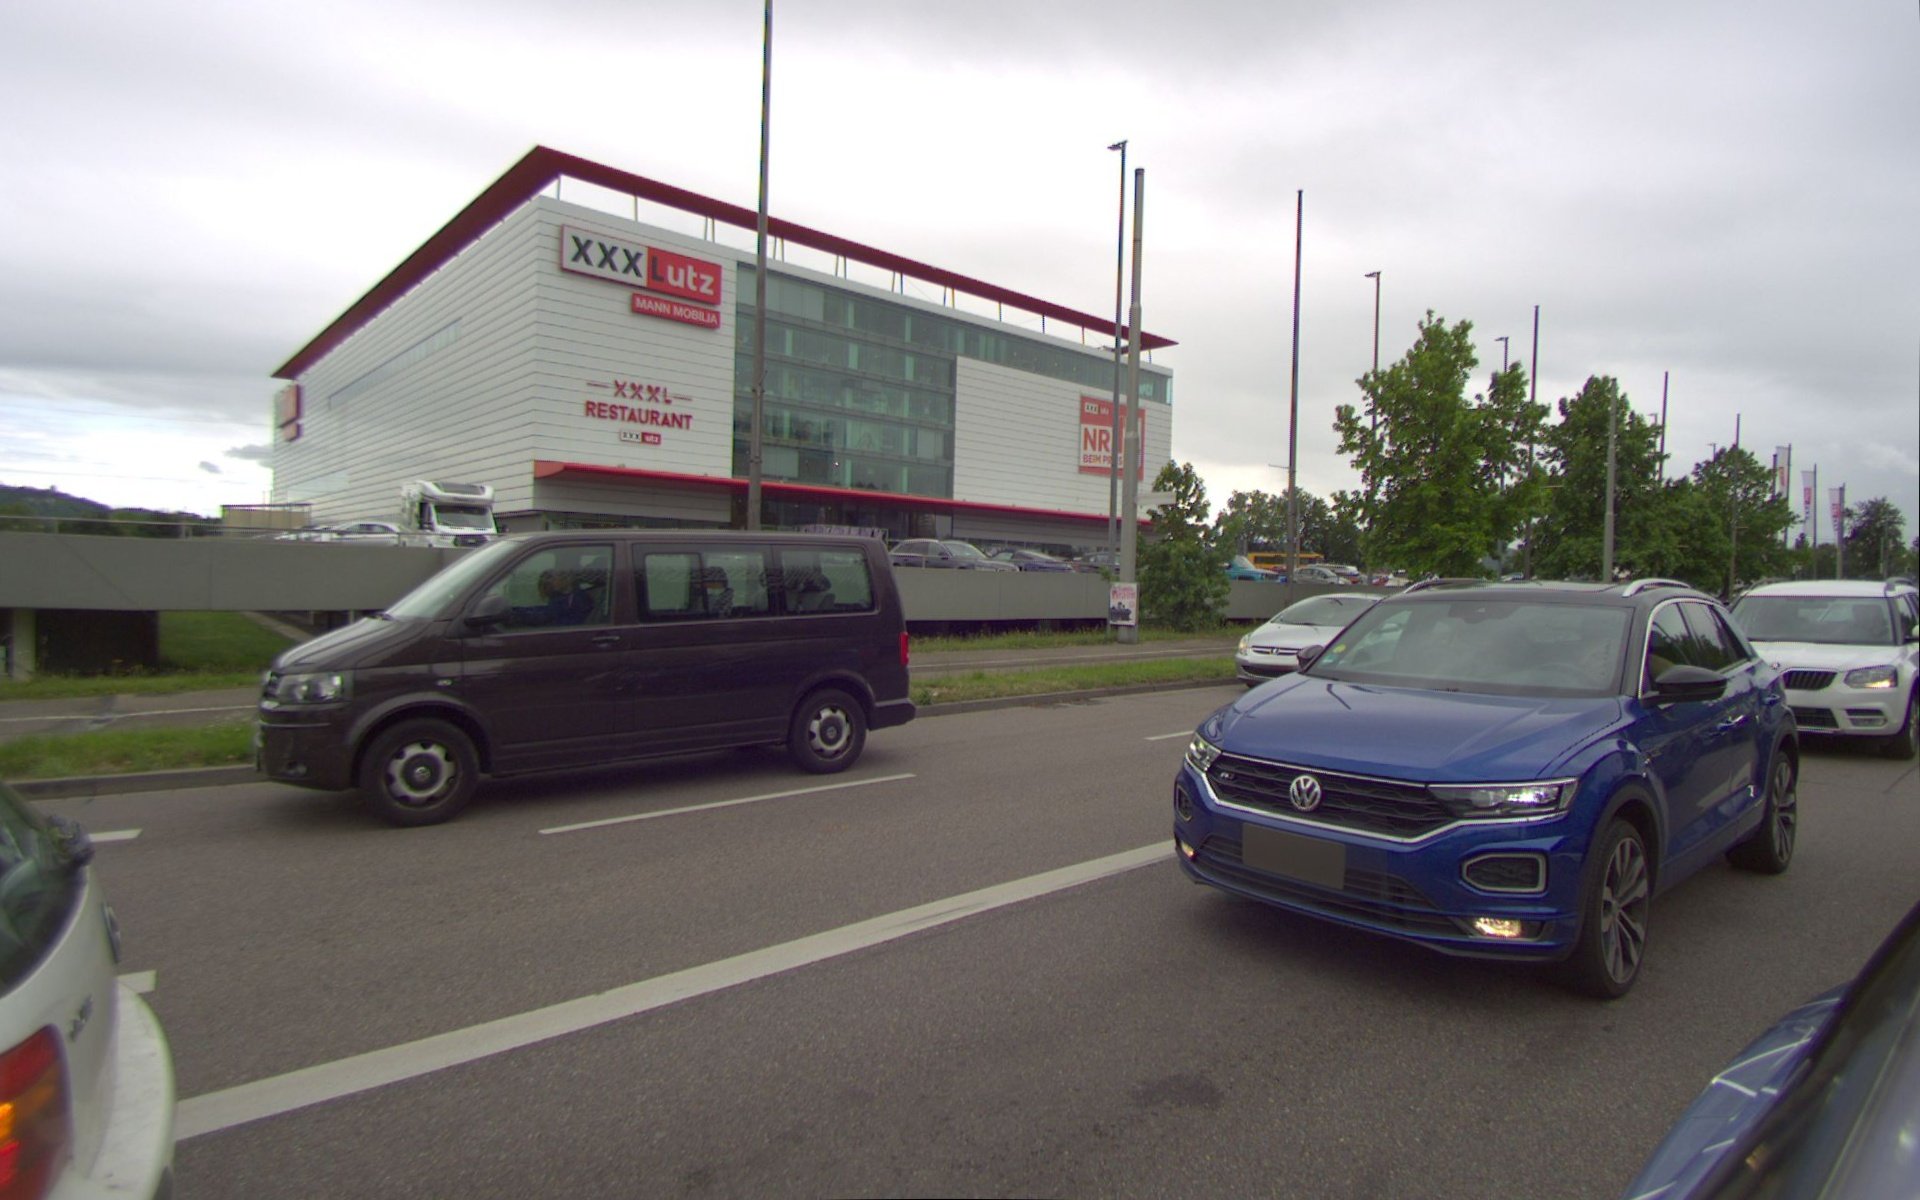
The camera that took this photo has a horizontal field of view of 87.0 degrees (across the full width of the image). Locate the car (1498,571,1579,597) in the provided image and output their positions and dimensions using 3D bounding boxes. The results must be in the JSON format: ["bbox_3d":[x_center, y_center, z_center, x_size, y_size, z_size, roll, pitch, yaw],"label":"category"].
[{"bbox_3d":[35.695,-0.979,62.522,1.765,1.585,3.994,-1,1,-40],"label":"car"}]

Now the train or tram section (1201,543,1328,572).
[{"bbox_3d":[53.958,-7.528,180.818,3.573,4.898,23.233,-1,2,-43],"label":"train or tram section"}]

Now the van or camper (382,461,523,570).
[{"bbox_3d":[-17.411,-2.684,34.438,2.667,3.175,7.226,-1,1,-40],"label":"van or camper"}]

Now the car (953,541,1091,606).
[{"bbox_3d":[1.854,-0.777,31.075,1.967,1.872,3.991,-1,1,-43],"label":"car"}]

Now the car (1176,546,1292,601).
[{"bbox_3d":[10.670,-1.012,39.590,1.966,2.039,3.992,-1,1,-42],"label":"car"}]

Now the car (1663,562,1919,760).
[{"bbox_3d":[9.039,0.463,10.502,4.297,1.645,1.798,-1,1,-40],"label":"car"}]

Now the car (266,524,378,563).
[{"bbox_3d":[-29.558,-2.586,46.932,4.186,1.697,1.774,-1,1,-41],"label":"car"}]

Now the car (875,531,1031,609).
[{"bbox_3d":[-0.273,-0.817,29.045,1.967,2.039,4.522,-1,1,-43],"label":"car"}]

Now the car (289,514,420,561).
[{"bbox_3d":[-23.713,-2.401,39.725,4.186,1.697,1.774,-1,1,-41],"label":"car"}]

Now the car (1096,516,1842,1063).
[{"bbox_3d":[2.820,0.527,5.123,4.256,1.642,1.845,-1,1,-40],"label":"car"}]

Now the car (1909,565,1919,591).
[{"bbox_3d":[84.045,-1.889,88.026,3.933,2.270,1.996,0,2,-44],"label":"car"}]

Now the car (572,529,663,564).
[{"bbox_3d":[-18.090,-2.795,53.501,4.186,1.697,1.774,-1,1,-41],"label":"car"}]

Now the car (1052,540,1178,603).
[{"bbox_3d":[5.319,-0.940,35.028,1.966,2.039,3.992,-1,1,-42],"label":"car"}]

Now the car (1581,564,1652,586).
[{"bbox_3d":[48.189,-1.820,74.341,1.765,1.585,3.994,-1,1,-40],"label":"car"}]

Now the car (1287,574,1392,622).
[{"bbox_3d":[17.041,-0.118,45.602,1.966,2.039,3.992,-1,1,-42],"label":"car"}]

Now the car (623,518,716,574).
[{"bbox_3d":[-11.185,-2.022,38.862,1.839,1.972,3.859,-1,1,-43],"label":"car"}]

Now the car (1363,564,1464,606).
[{"bbox_3d":[23.290,-0.753,52.040,1.966,2.039,4.318,-1,1,-42],"label":"car"}]

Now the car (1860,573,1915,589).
[{"bbox_3d":[120.354,-2.497,131.348,1.966,2.039,5.081,-1,1,-42],"label":"car"}]

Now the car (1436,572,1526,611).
[{"bbox_3d":[28.707,-0.464,55.810,1.965,2.039,3.994,-1,1,-41],"label":"car"}]

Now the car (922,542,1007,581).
[{"bbox_3d":[0.183,-1.865,49.755,1.967,1.760,3.991,-1,1,-43],"label":"car"}]

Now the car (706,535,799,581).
[{"bbox_3d":[-9.549,-1.911,46.746,4.094,2.039,2.004,-1,0,-10],"label":"car"}]

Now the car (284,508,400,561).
[{"bbox_3d":[-25.937,-2.691,42.524,3.929,2.039,1.998,-1,1,-39],"label":"car"}]

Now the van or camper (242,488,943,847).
[{"bbox_3d":[-2.723,0.336,8.097,4.853,2.039,2.163,-1,1,-38],"label":"van or camper"}]

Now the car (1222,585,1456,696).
[{"bbox_3d":[5.677,0.499,14.947,3.861,1.389,1.691,-1,1,-43],"label":"car"}]

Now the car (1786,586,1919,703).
[{"bbox_3d":[13.406,0.545,14.456,4.145,1.433,1.800,-1,1,-41],"label":"car"}]

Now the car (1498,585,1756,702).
[{"bbox_3d":[9.749,0.558,14.627,4.790,1.429,1.815,1,0,-40],"label":"car"}]

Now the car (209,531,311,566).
[{"bbox_3d":[-36.151,-2.625,52.307,4.186,1.697,1.774,-1,1,-41],"label":"car"}]

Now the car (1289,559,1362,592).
[{"bbox_3d":[23.553,-1.582,65.341,1.966,2.039,3.992,-1,1,-42],"label":"car"}]

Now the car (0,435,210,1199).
[{"bbox_3d":[-2.973,0.601,0.624,3.935,1.496,1.836,-1,1,-41],"label":"car"}]

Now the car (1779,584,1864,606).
[{"bbox_3d":[59.055,-0.348,69.402,1.771,1.433,4.212,-1,1,-41],"label":"car"}]

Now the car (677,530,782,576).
[{"bbox_3d":[-8.129,-1.599,35.529,1.839,1.455,3.984,-1,1,-43],"label":"car"}]

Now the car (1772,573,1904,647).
[{"bbox_3d":[21.578,0.184,24.818,4.297,1.645,1.798,-1,1,-40],"label":"car"}]

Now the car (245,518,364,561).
[{"bbox_3d":[-28.500,-2.603,44.069,4.186,1.697,1.774,-1,1,-41],"label":"car"}]

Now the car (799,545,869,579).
[{"bbox_3d":[-7.105,-2.089,56.847,1.967,1.760,3.991,-1,1,-43],"label":"car"}]
